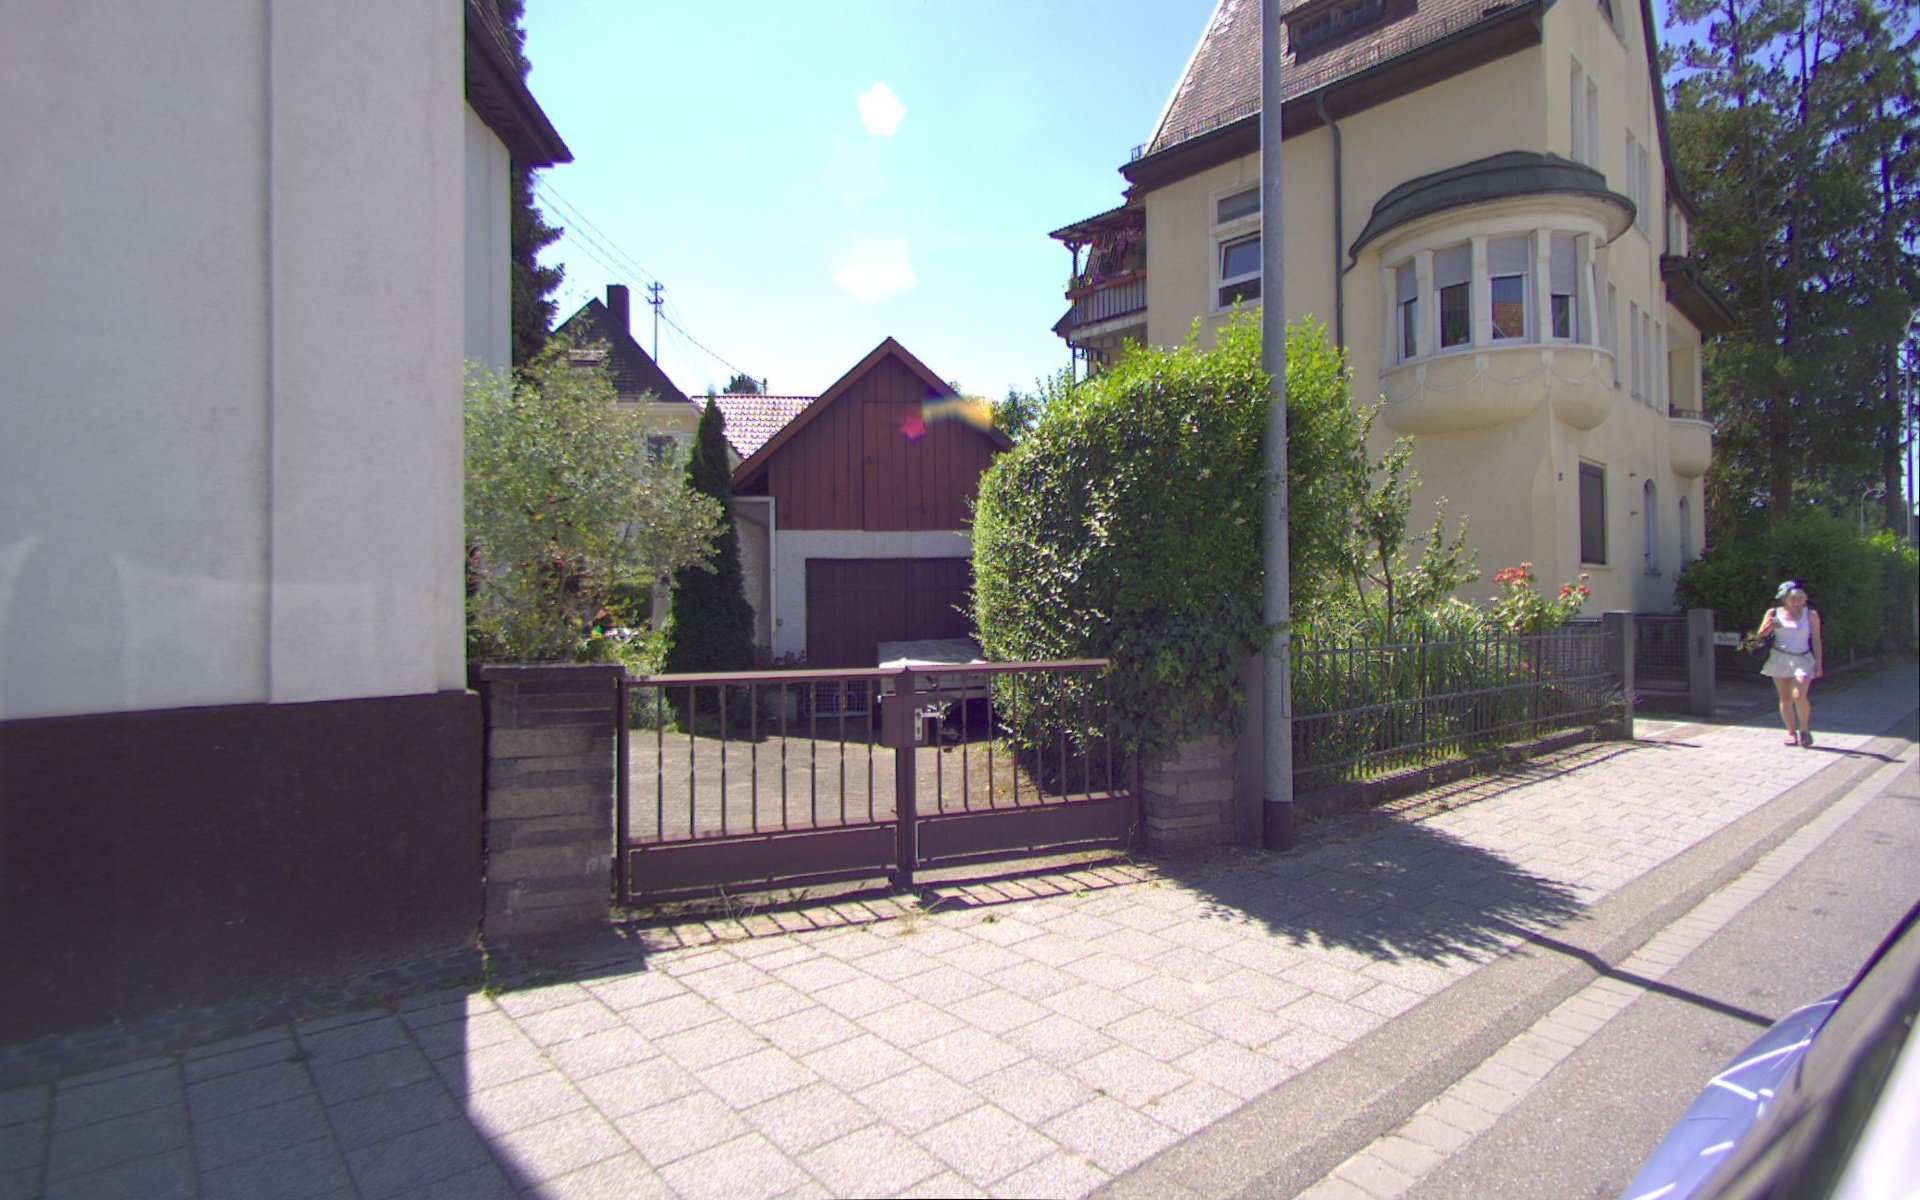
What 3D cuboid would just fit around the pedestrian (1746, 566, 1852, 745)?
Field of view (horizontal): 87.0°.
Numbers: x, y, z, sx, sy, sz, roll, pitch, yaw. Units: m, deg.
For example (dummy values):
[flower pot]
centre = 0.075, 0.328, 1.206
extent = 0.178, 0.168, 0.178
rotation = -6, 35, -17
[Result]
[pedestrian]
centre = 8.353, 0.519, 10.076
extent = 0.759, 1.663, 0.624
rotation = -1, 5, -45
